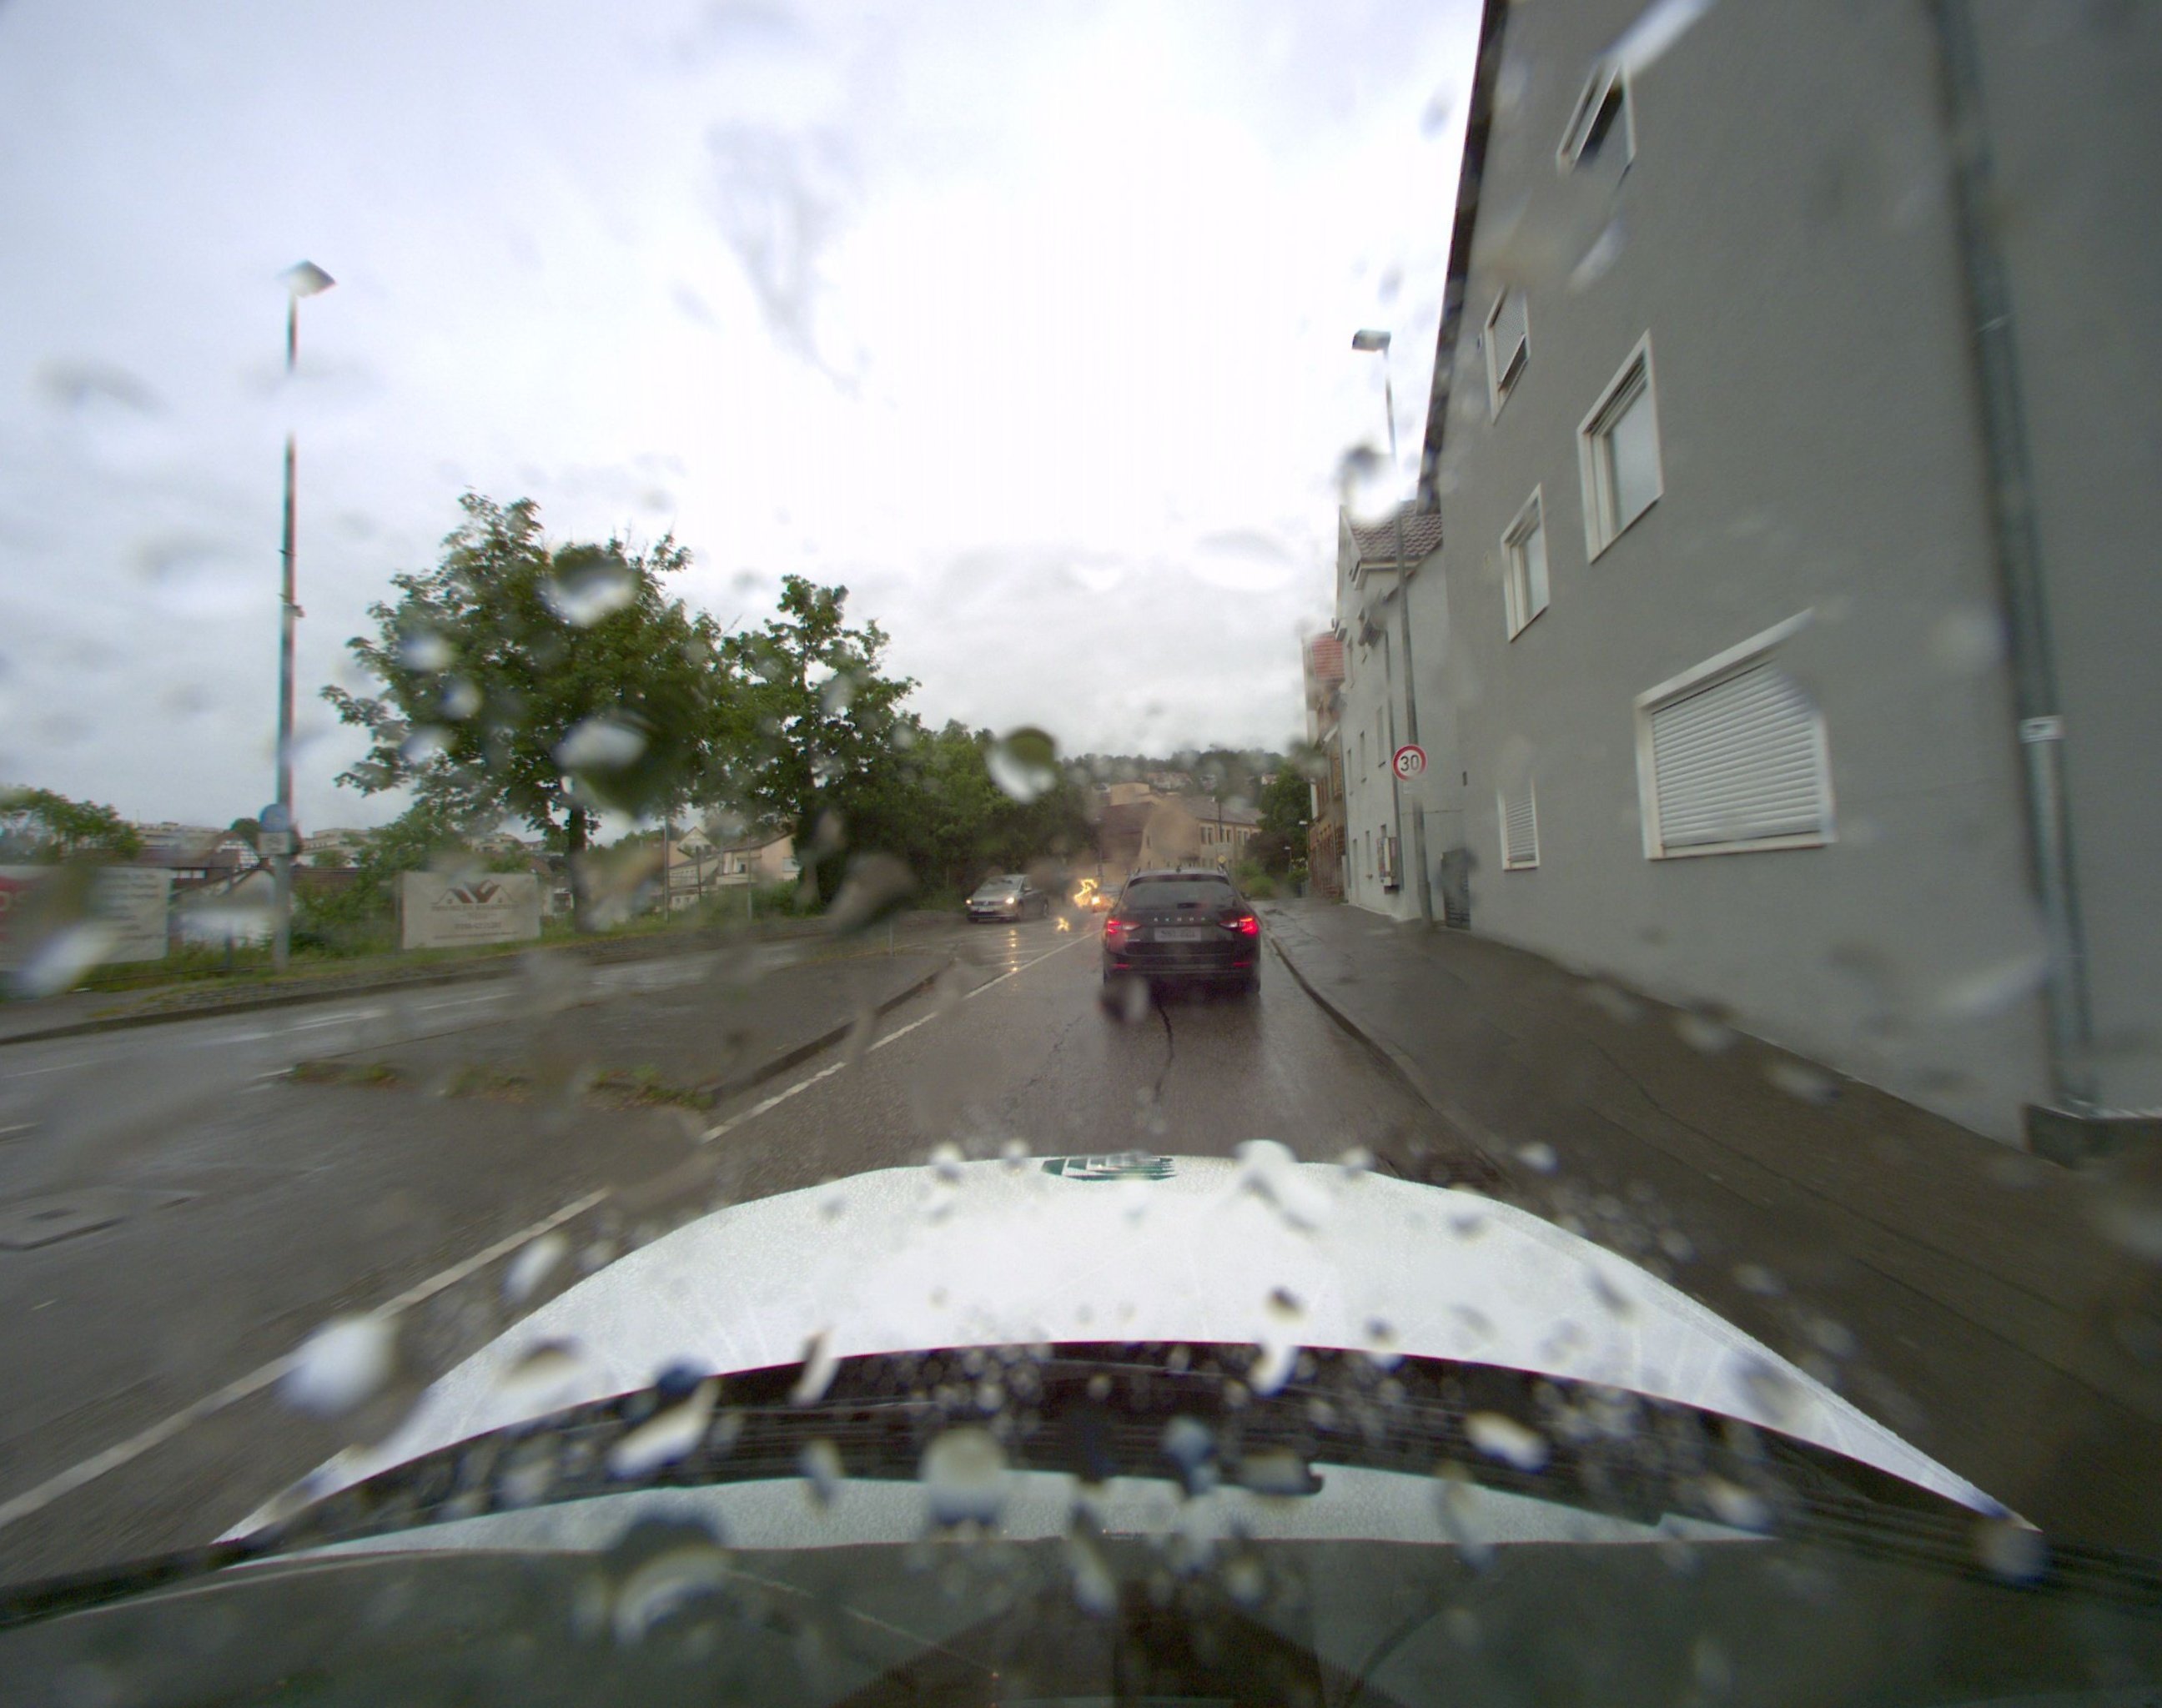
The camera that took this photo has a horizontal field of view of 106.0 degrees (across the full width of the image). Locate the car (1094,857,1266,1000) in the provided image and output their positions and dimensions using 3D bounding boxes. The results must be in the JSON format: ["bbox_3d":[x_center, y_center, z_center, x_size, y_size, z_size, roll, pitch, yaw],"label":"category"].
[{"bbox_3d":[1.224,0.806,10.702,1.773,1.483,4.251,-1,-1,5],"label":"car"}]

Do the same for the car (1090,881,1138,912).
[{"bbox_3d":[1.851,2.261,44.377,1.628,1.521,4.087,-3,-2,16],"label":"car"}]

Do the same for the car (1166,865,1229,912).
[{"bbox_3d":[3.873,1.174,26.815,1.807,1.360,3.999,-3,-4,9],"label":"car"}]

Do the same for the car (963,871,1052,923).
[{"bbox_3d":[-2.383,1.397,27.480,1.632,1.552,4.171,-2,-2,15],"label":"car"}]
